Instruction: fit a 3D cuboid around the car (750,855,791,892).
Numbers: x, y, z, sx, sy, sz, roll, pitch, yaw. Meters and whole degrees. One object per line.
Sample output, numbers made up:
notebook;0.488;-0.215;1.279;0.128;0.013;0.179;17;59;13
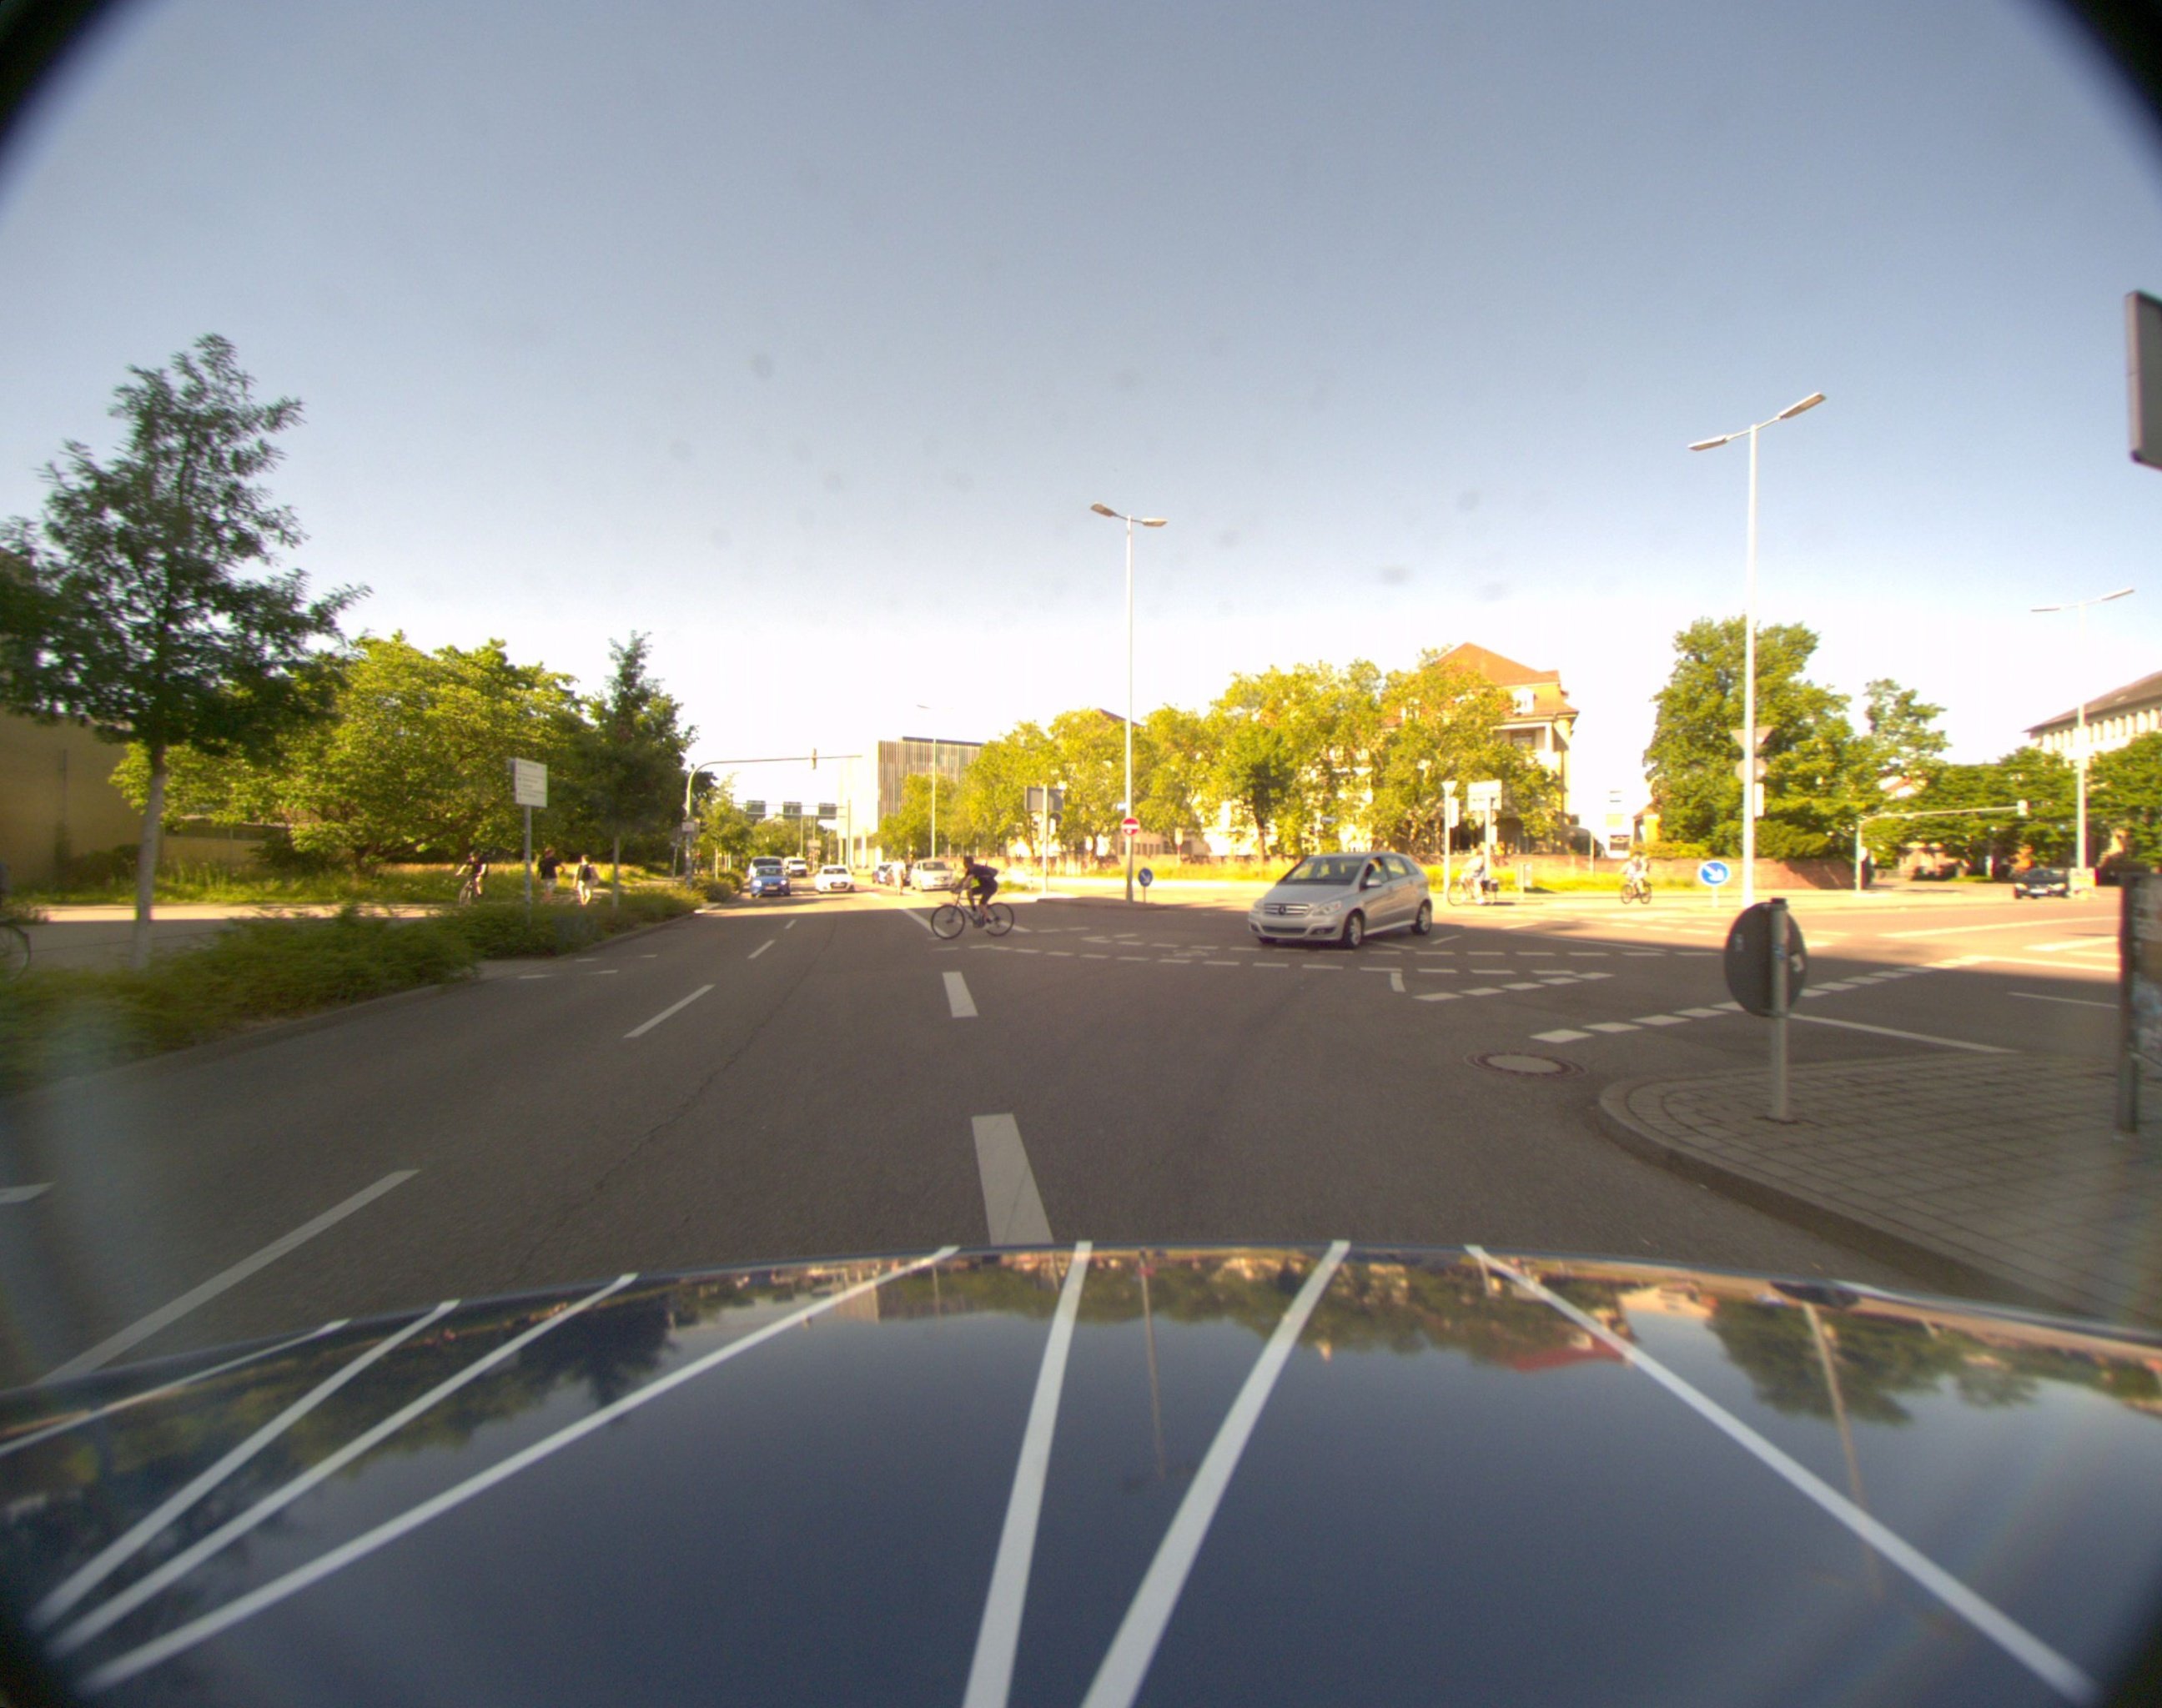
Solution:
car;-17.318;1.051;42.372;1.941;1.941;4.748;-1;0;-23

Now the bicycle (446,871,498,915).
bicycle;-16.966;1.065;21.213;0.644;1.158;1.867;0;-1;-23

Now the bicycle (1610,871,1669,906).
bicycle;18.979;1.168;25.811;1.971;1.158;0.777;1;-1;-27

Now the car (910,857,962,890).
car;-7.680;0.986;39.854;1.792;1.615;4.308;-1;0;-23

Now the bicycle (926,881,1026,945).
bicycle;-2.123;1.171;15.375;1.873;1.158;0.642;-1;0;-27

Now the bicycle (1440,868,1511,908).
bicycle;11.543;0.987;22.231;1.969;1.158;0.642;0;-1;-17

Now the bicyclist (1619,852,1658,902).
bicyclist;18.917;0.772;25.779;0.778;1.653;0.784;0;-1;-27

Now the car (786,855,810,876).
car;-28.081;1.103;75.196;1.941;1.941;4.523;-1;0;-24

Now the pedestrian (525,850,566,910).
pedestrian;-16.051;0.785;22.790;0.731;1.770;0.735;0;-2;-9

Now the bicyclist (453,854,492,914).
bicyclist;-16.984;0.833;21.230;0.644;1.635;0.775;0;0;-23

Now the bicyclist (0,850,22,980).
bicyclist;-12.201;0.669;8.128;0.644;1.436;0.775;2;0;-15

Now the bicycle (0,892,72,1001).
bicycle;-12.232;1.038;8.169;0.643;1.158;1.867;2;0;-16

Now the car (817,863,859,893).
car;-12.672;1.205;39.625;2.002;1.460;3.994;0;0;-18

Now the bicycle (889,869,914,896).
bicycle;-8.301;1.282;35.044;0.749;1.158;1.866;1;1;-24

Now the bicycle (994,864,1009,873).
bicycle;-9.948;1.773;95.110;0.798;1.069;2.080;1;-3;-42

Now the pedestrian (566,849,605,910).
pedestrian;-14.883;0.763;22.852;0.731;1.805;0.735;0;-2;-9

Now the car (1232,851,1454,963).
car;4.926;0.829;13.899;4.647;1.584;1.767;-3;1;-42

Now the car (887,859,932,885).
car;-10.877;1.093;47.912;1.986;1.545;4.715;-1;0;-23

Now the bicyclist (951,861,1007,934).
bicyclist;-2.073;0.857;15.404;0.954;1.436;0.642;-1;0;-27

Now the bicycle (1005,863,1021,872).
bicycle;-8.356;1.677;93.398;0.798;1.069;2.080;1;-3;-42

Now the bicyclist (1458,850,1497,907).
bicyclist;11.606;0.705;22.251;0.777;1.653;0.642;0;0;-16

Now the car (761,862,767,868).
car;-95.238;3.271;228.431;1.695;1.583;3.592;-1;0;-24

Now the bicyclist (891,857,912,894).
bicyclist;-8.266;0.991;34.948;0.747;1.675;0.975;0;1;-24

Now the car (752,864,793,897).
car;-14.694;1.222;36.186;1.707;1.433;3.993;-1;0;-23

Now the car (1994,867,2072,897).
car;48.687;1.427;38.835;4.306;1.463;1.996;1;-3;-32

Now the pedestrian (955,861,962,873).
pedestrian;-16.253;1.762;100.800;0.654;1.601;0.557;0;-2;-29

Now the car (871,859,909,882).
car;-13.901;1.162;55.119;1.986;1.545;4.715;-1;0;-23
